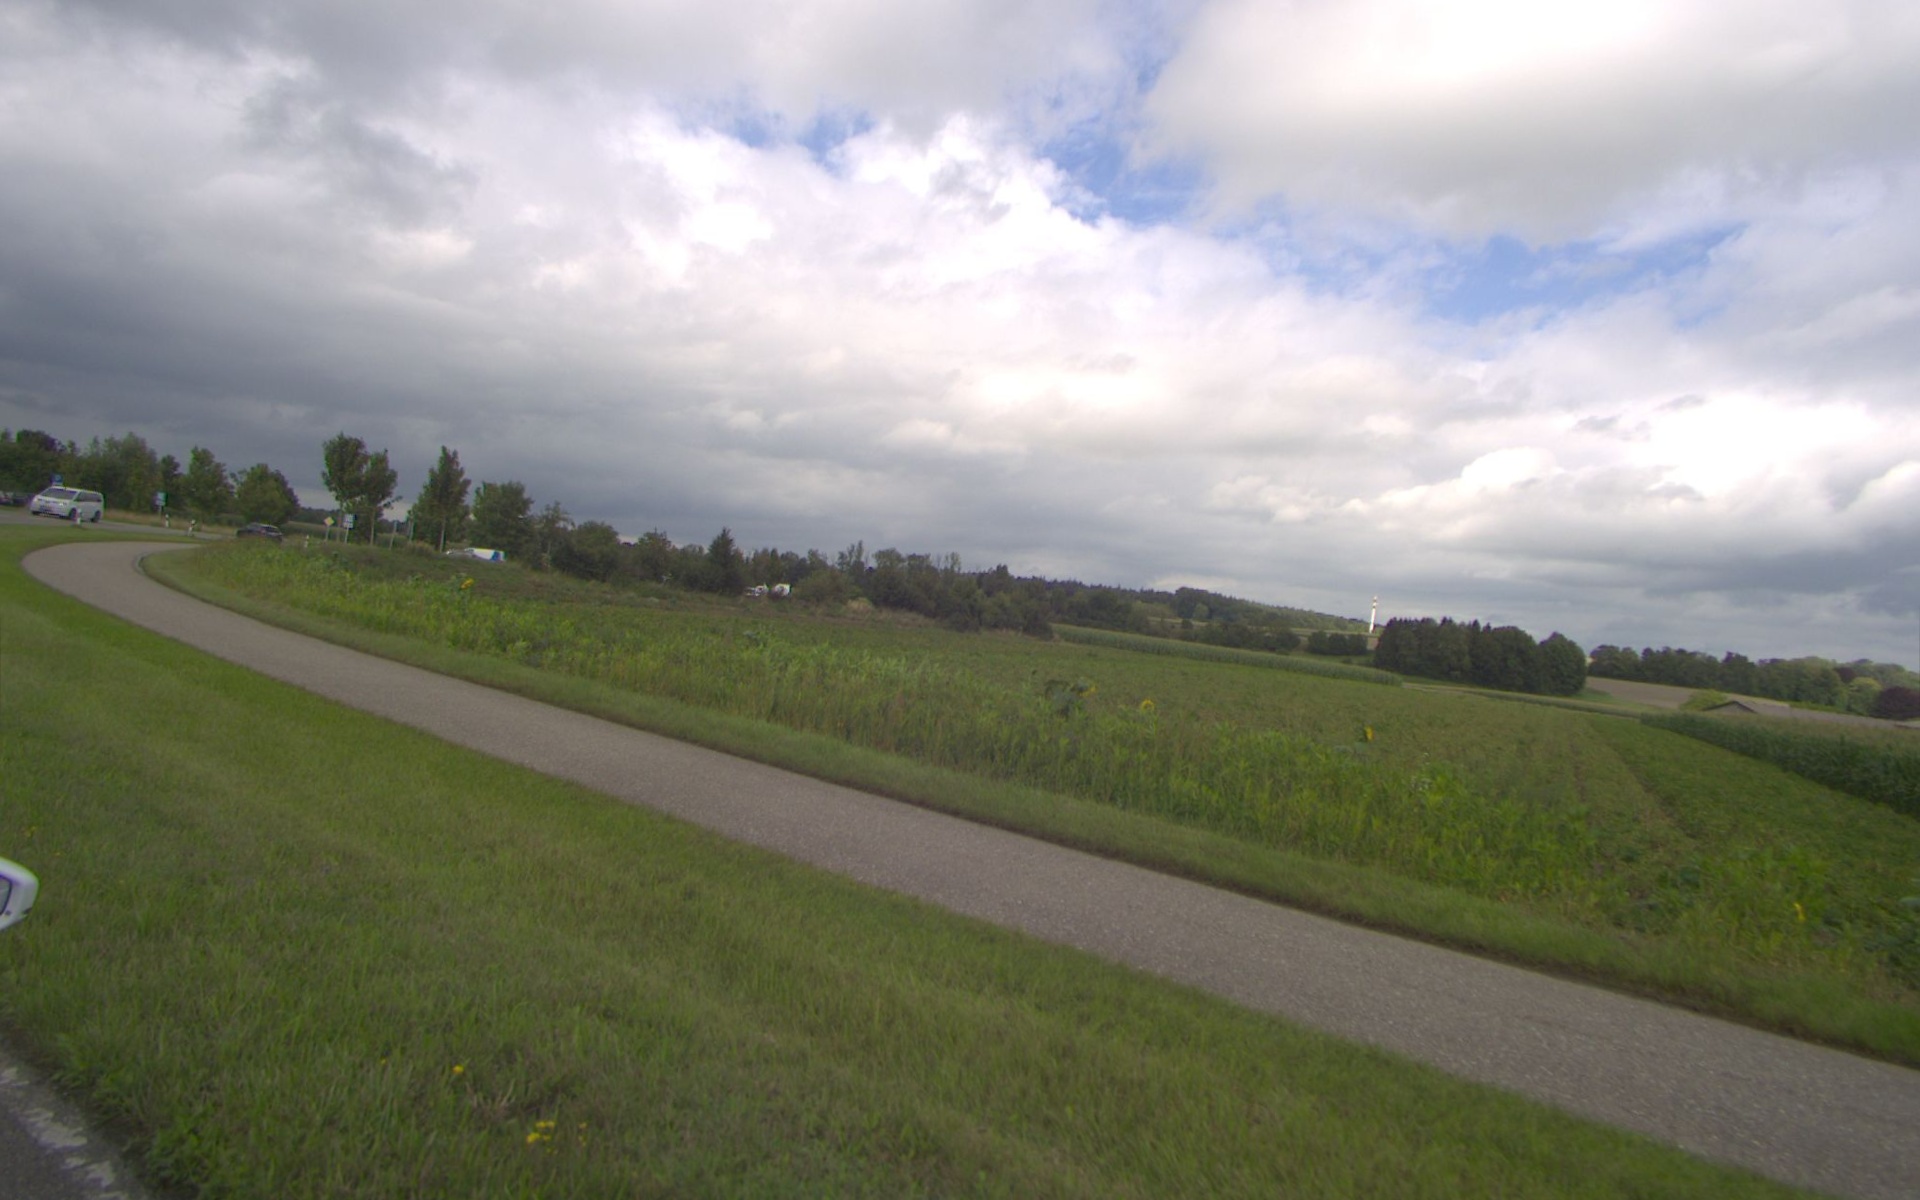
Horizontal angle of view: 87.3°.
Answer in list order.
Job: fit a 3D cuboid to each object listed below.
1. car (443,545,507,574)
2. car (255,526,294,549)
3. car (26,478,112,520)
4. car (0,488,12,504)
[{"bbox_3d":[-45.165,-3.722,93.824,4.886,1.998,1.949,8,0,-15],"label":"car"},{"bbox_3d":[-53.175,-4.857,78.018,1.836,1.434,3.952,8,-1,-43],"label":"car"},{"bbox_3d":[-54.819,-6.158,62.033,2.091,1.891,5.162,8,-1,-21],"label":"car"},{"bbox_3d":[-91.631,-10.048,94.154,3.968,1.396,1.461,8,-1,-38],"label":"car"}]
